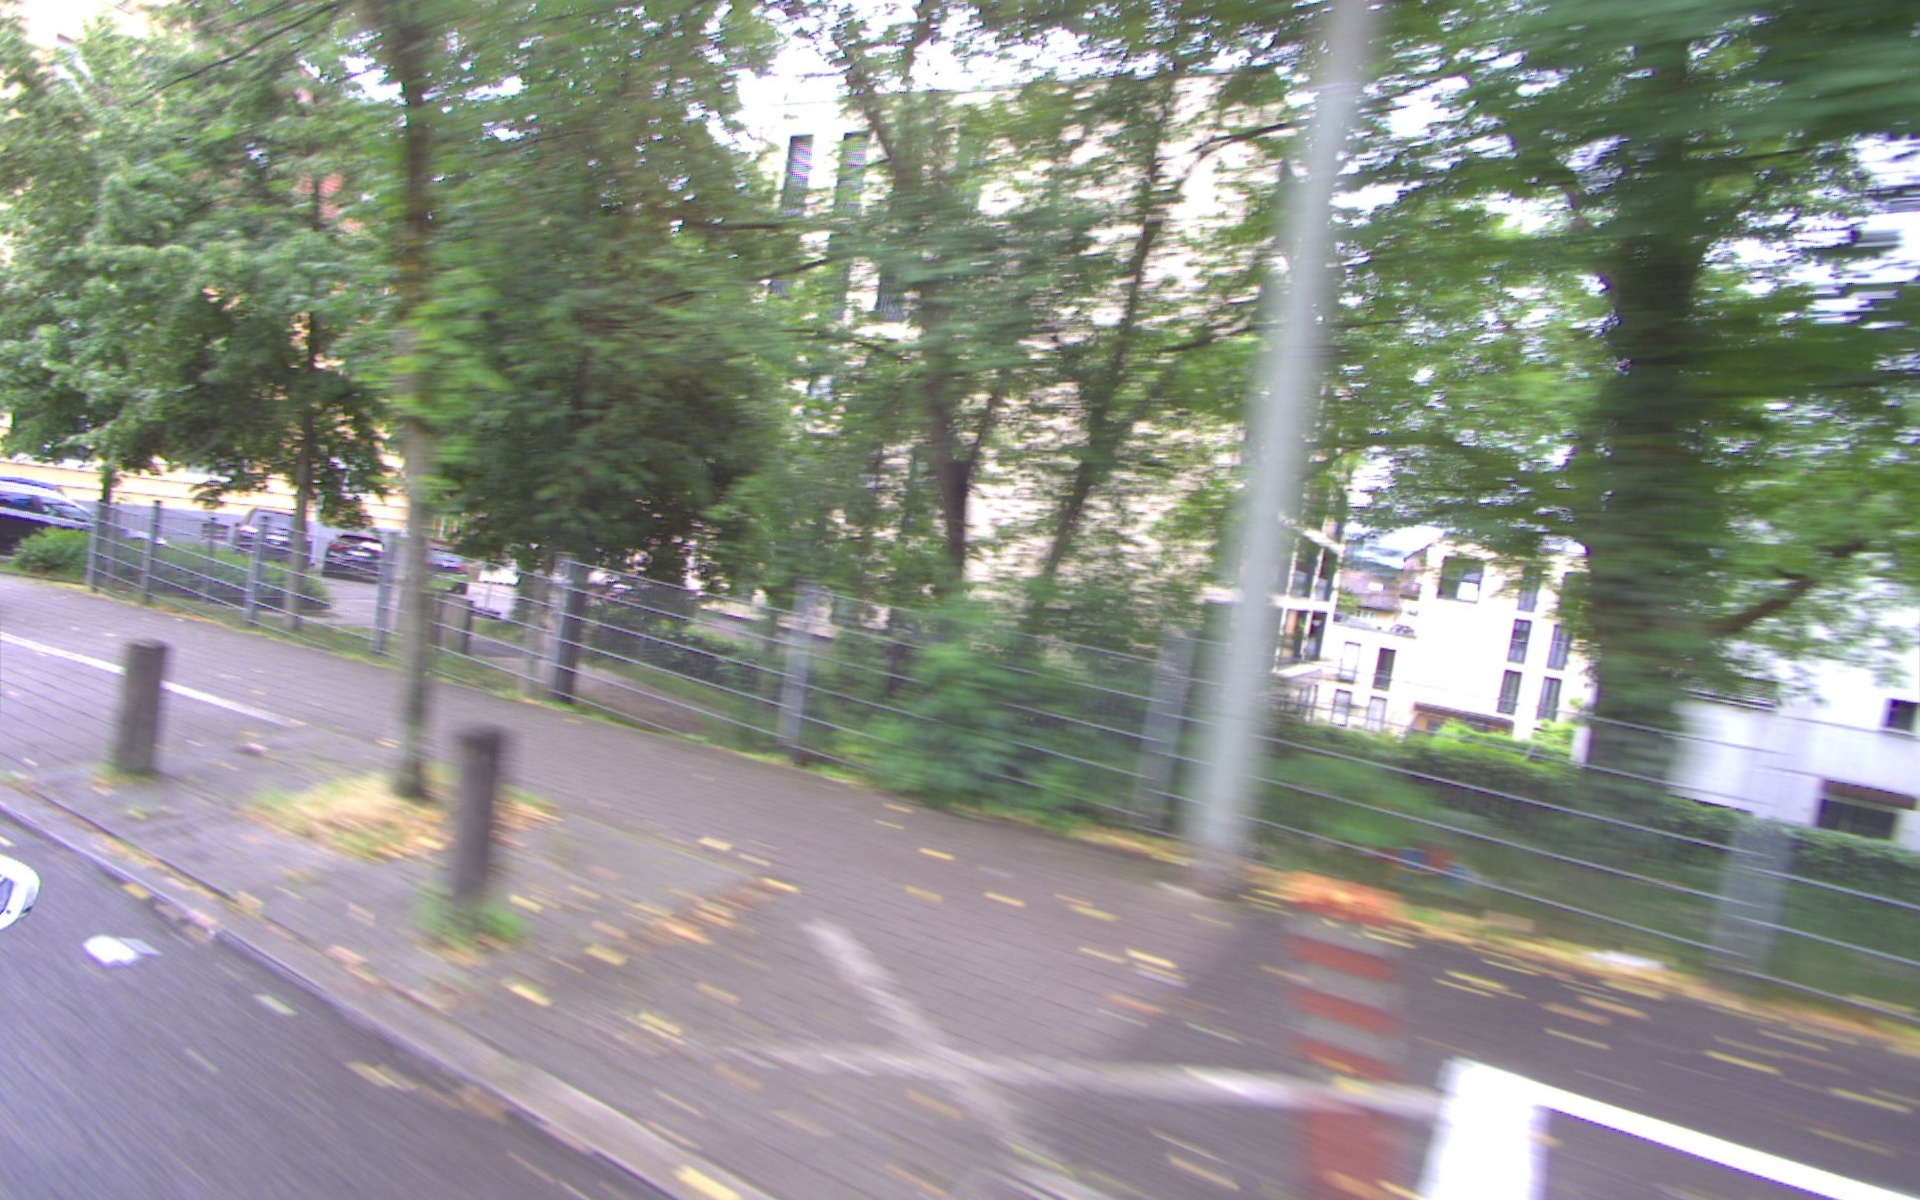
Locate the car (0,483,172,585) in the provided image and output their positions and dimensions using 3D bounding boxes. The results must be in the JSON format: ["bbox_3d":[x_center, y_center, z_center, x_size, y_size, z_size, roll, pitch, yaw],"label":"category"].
[{"bbox_3d":[-17.854,-1.389,18.878,1.966,1.515,4.284,9,-2,23],"label":"car"}]

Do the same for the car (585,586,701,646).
[{"bbox_3d":[-10.908,0.589,34.837,1.746,1.441,3.530,11,-1,25],"label":"car"}]

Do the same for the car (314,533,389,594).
[{"bbox_3d":[-19.354,-1.204,32.131,1.692,1.485,3.584,11,-1,-29],"label":"car"}]

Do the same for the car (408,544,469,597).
[{"bbox_3d":[-17.967,-1.041,34.601,1.689,1.488,3.584,6,1,-29],"label":"car"}]

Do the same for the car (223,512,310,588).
[{"bbox_3d":[-20.426,-1.522,29.539,1.696,1.745,4.491,9,0,-38],"label":"car"}]

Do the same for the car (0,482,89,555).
[{"bbox_3d":[-23.376,-2.034,25.164,1.692,1.509,3.608,9,-3,-32],"label":"car"}]
